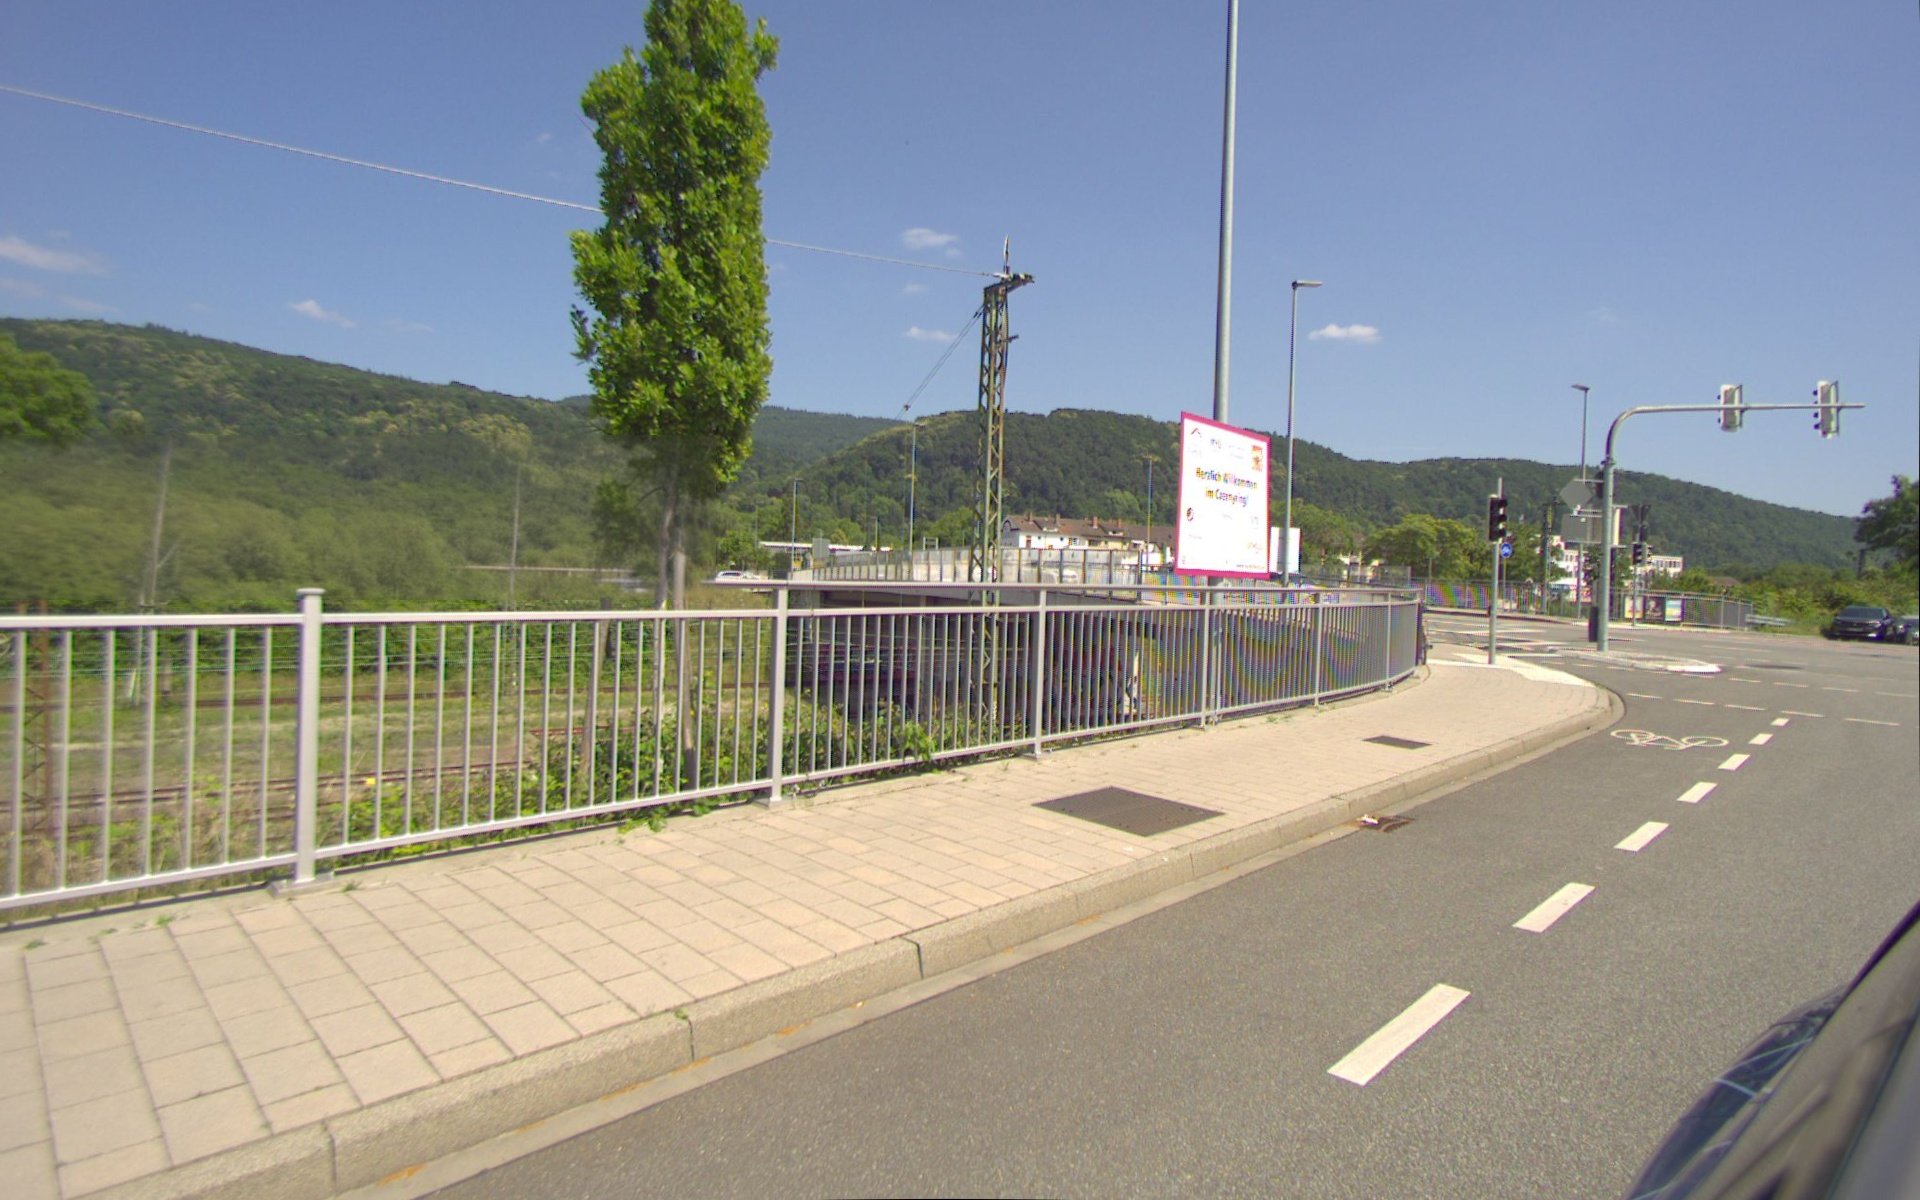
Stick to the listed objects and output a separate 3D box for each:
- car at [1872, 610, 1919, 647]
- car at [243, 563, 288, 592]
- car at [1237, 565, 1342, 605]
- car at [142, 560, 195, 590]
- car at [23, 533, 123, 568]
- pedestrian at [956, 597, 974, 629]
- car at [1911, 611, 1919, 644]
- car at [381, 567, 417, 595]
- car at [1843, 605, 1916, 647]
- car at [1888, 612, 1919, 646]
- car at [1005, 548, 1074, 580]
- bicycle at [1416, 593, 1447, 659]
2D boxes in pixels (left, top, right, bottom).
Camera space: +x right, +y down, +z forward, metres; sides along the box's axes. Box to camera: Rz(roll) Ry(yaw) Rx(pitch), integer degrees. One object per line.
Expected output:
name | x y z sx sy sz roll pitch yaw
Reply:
car | 43.880 1.297 46.989 3.928 1.551 1.672 1 2 -39
car | -51.721 -1.676 75.460 1.958 2.038 4.480 1 2 -24
car | 13.555 -0.644 41.911 1.700 1.487 4.421 1 2 -21
car | -58.045 -1.842 74.287 1.958 2.038 4.480 1 2 -24
car | -58.684 -3.256 67.057 4.903 2.139 1.997 0 2 -41
pedestrian | 0.281 0.673 53.971 0.632 1.638 0.923 1 1 -22
car | 51.807 1.476 53.508 3.928 1.655 1.672 1 2 -39
car | -43.501 -1.504 78.537 1.958 2.038 4.480 1 2 -24
car | 40.033 1.104 44.025 4.163 1.647 1.829 0 2 -41
car | 47.352 1.426 49.949 3.928 1.551 1.672 1 2 -39
car | 4.607 -2.123 59.152 1.958 1.740 4.643 1 2 -25
bicycle | 8.524 0.443 18.322 0.294 1.114 1.610 2 1 18
